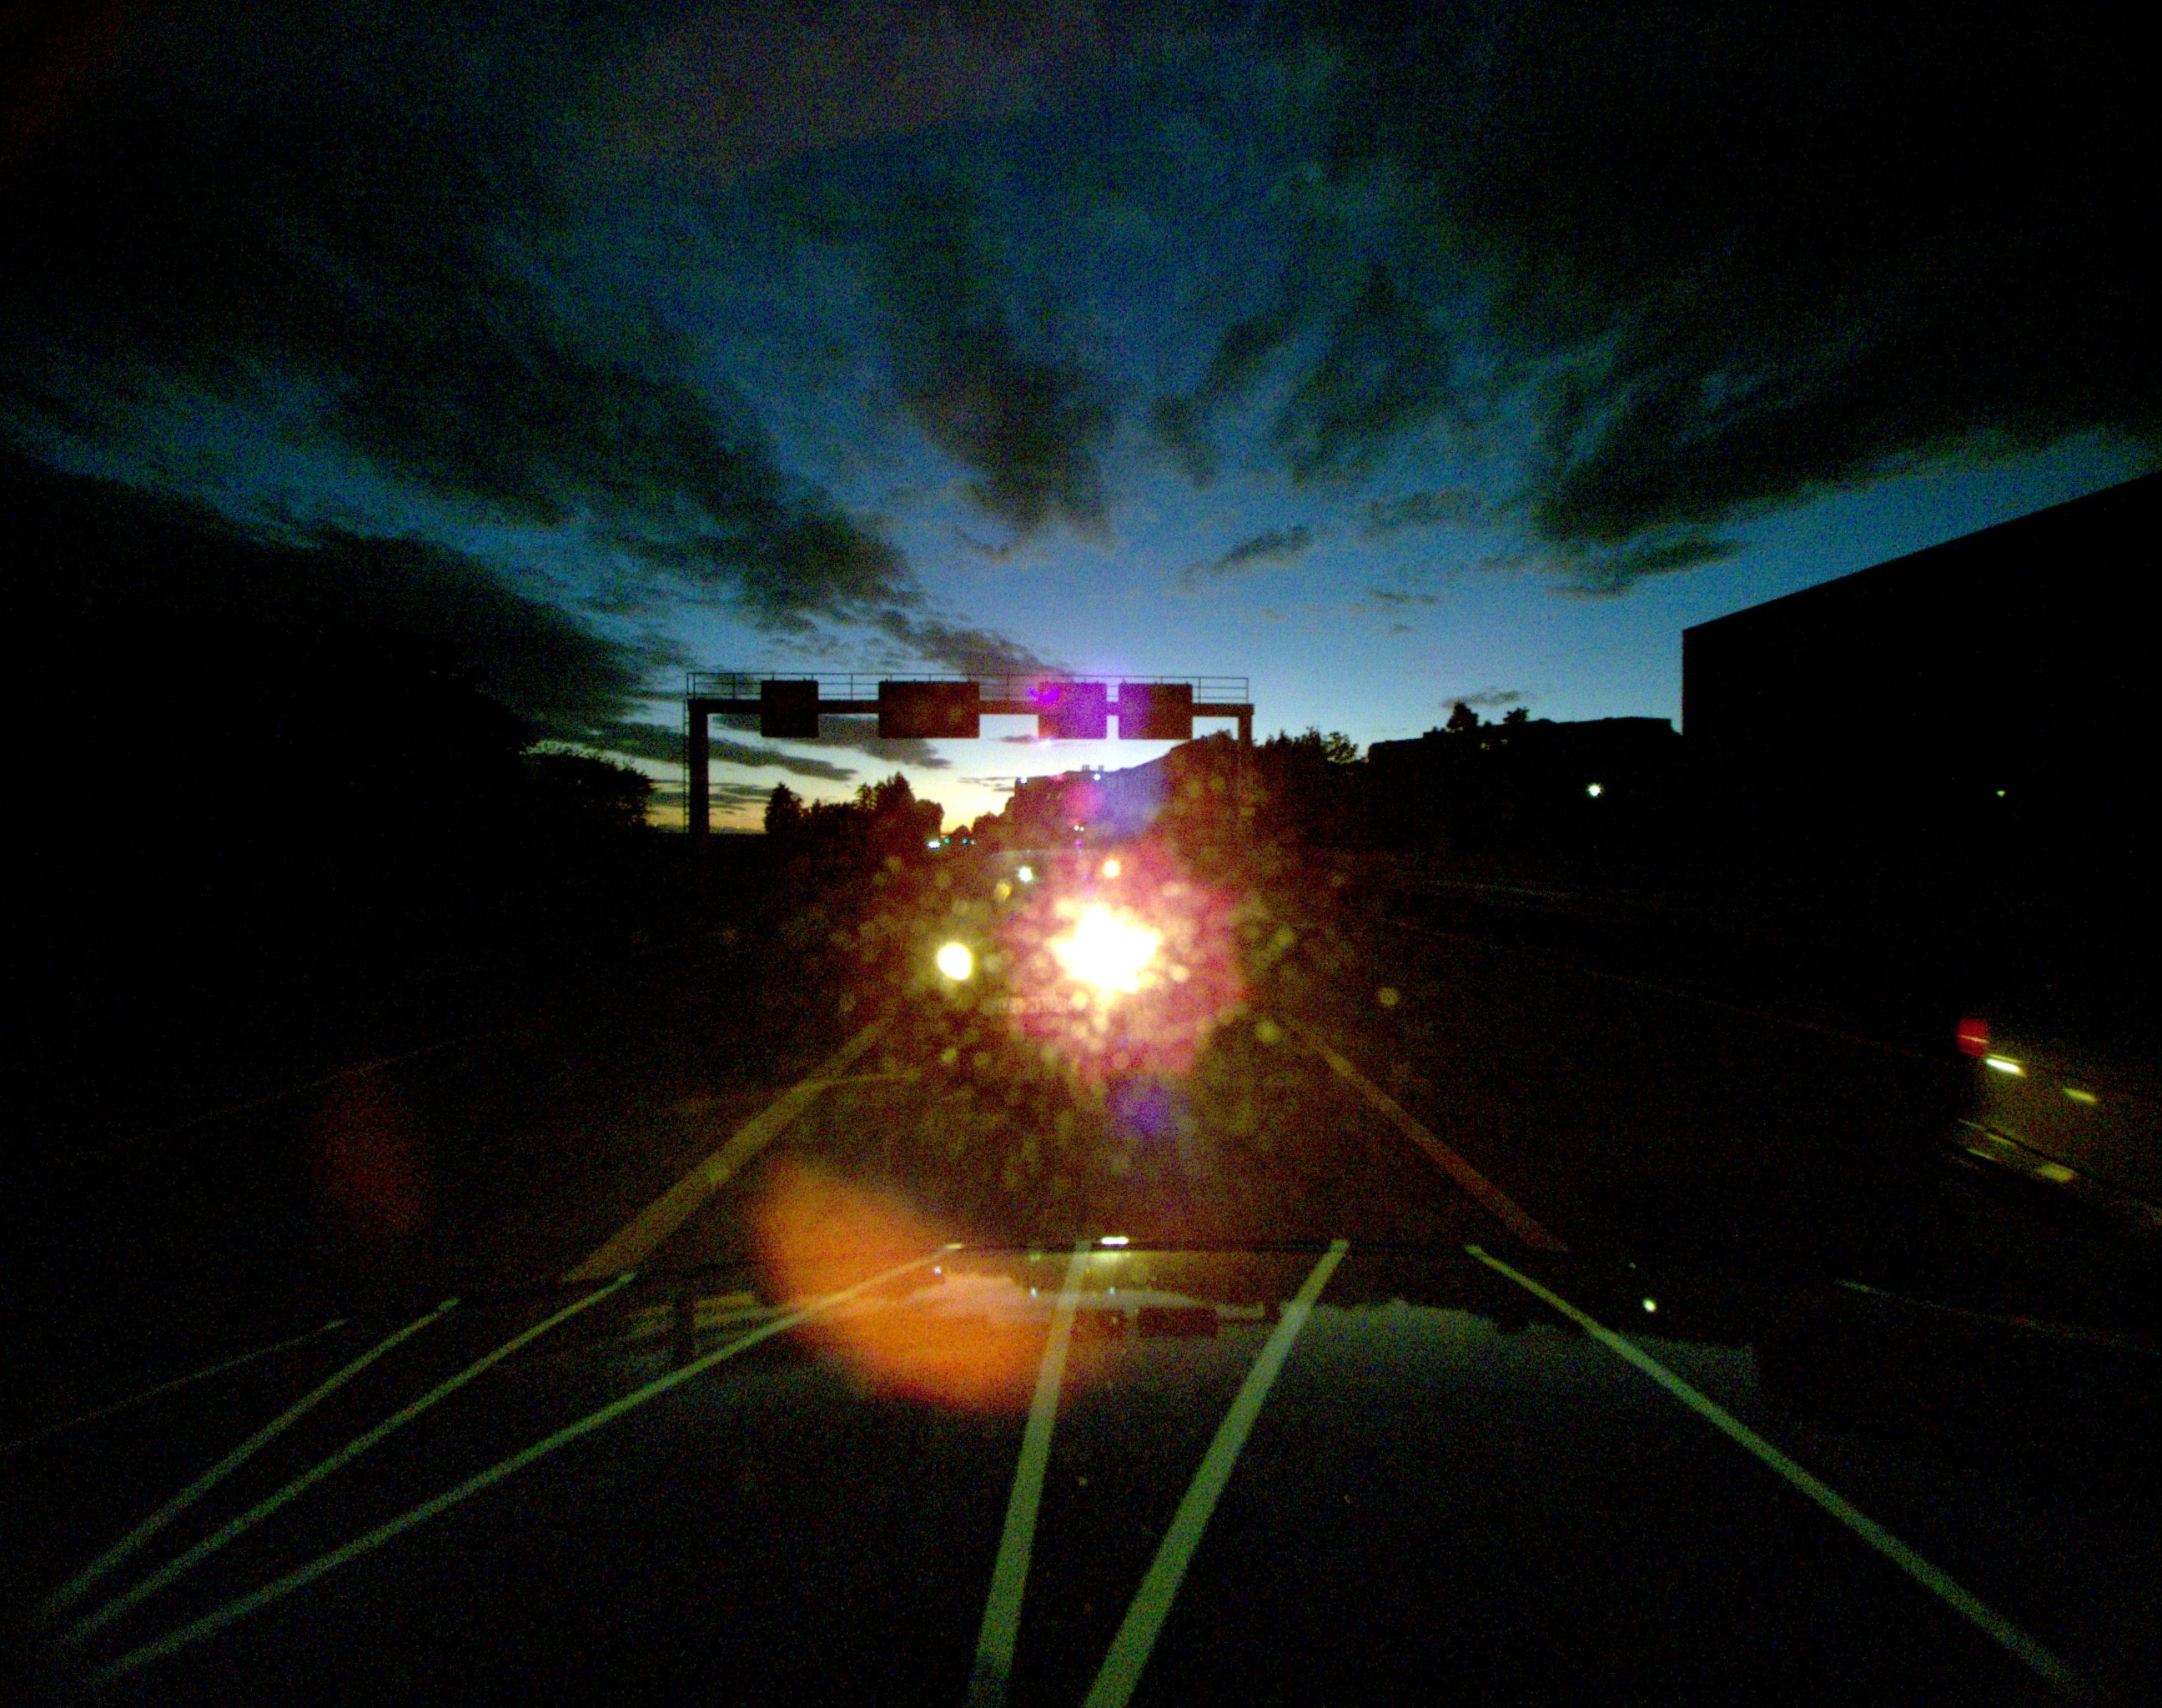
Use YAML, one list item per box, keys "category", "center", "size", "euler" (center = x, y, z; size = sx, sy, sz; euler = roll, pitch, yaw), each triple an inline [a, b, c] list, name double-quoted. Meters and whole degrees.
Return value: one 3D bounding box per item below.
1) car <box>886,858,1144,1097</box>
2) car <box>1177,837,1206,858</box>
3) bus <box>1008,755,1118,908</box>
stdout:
- category: "car"
  center: [-0.330, 0.832, 6.893]
  size: [1.669, 1.472, 3.776]
  euler: [-2, 1, 3]
- category: "car"
  center: [8.163, -0.496, 56.536]
  size: [1.761, 1.435, 4.110]
  euler: [-1, 1, 4]
- category: "bus"
  center: [-0.610, -0.670, 25.310]
  size: [2.614, 3.769, 12.271]
  euler: [-2, 1, -1]
